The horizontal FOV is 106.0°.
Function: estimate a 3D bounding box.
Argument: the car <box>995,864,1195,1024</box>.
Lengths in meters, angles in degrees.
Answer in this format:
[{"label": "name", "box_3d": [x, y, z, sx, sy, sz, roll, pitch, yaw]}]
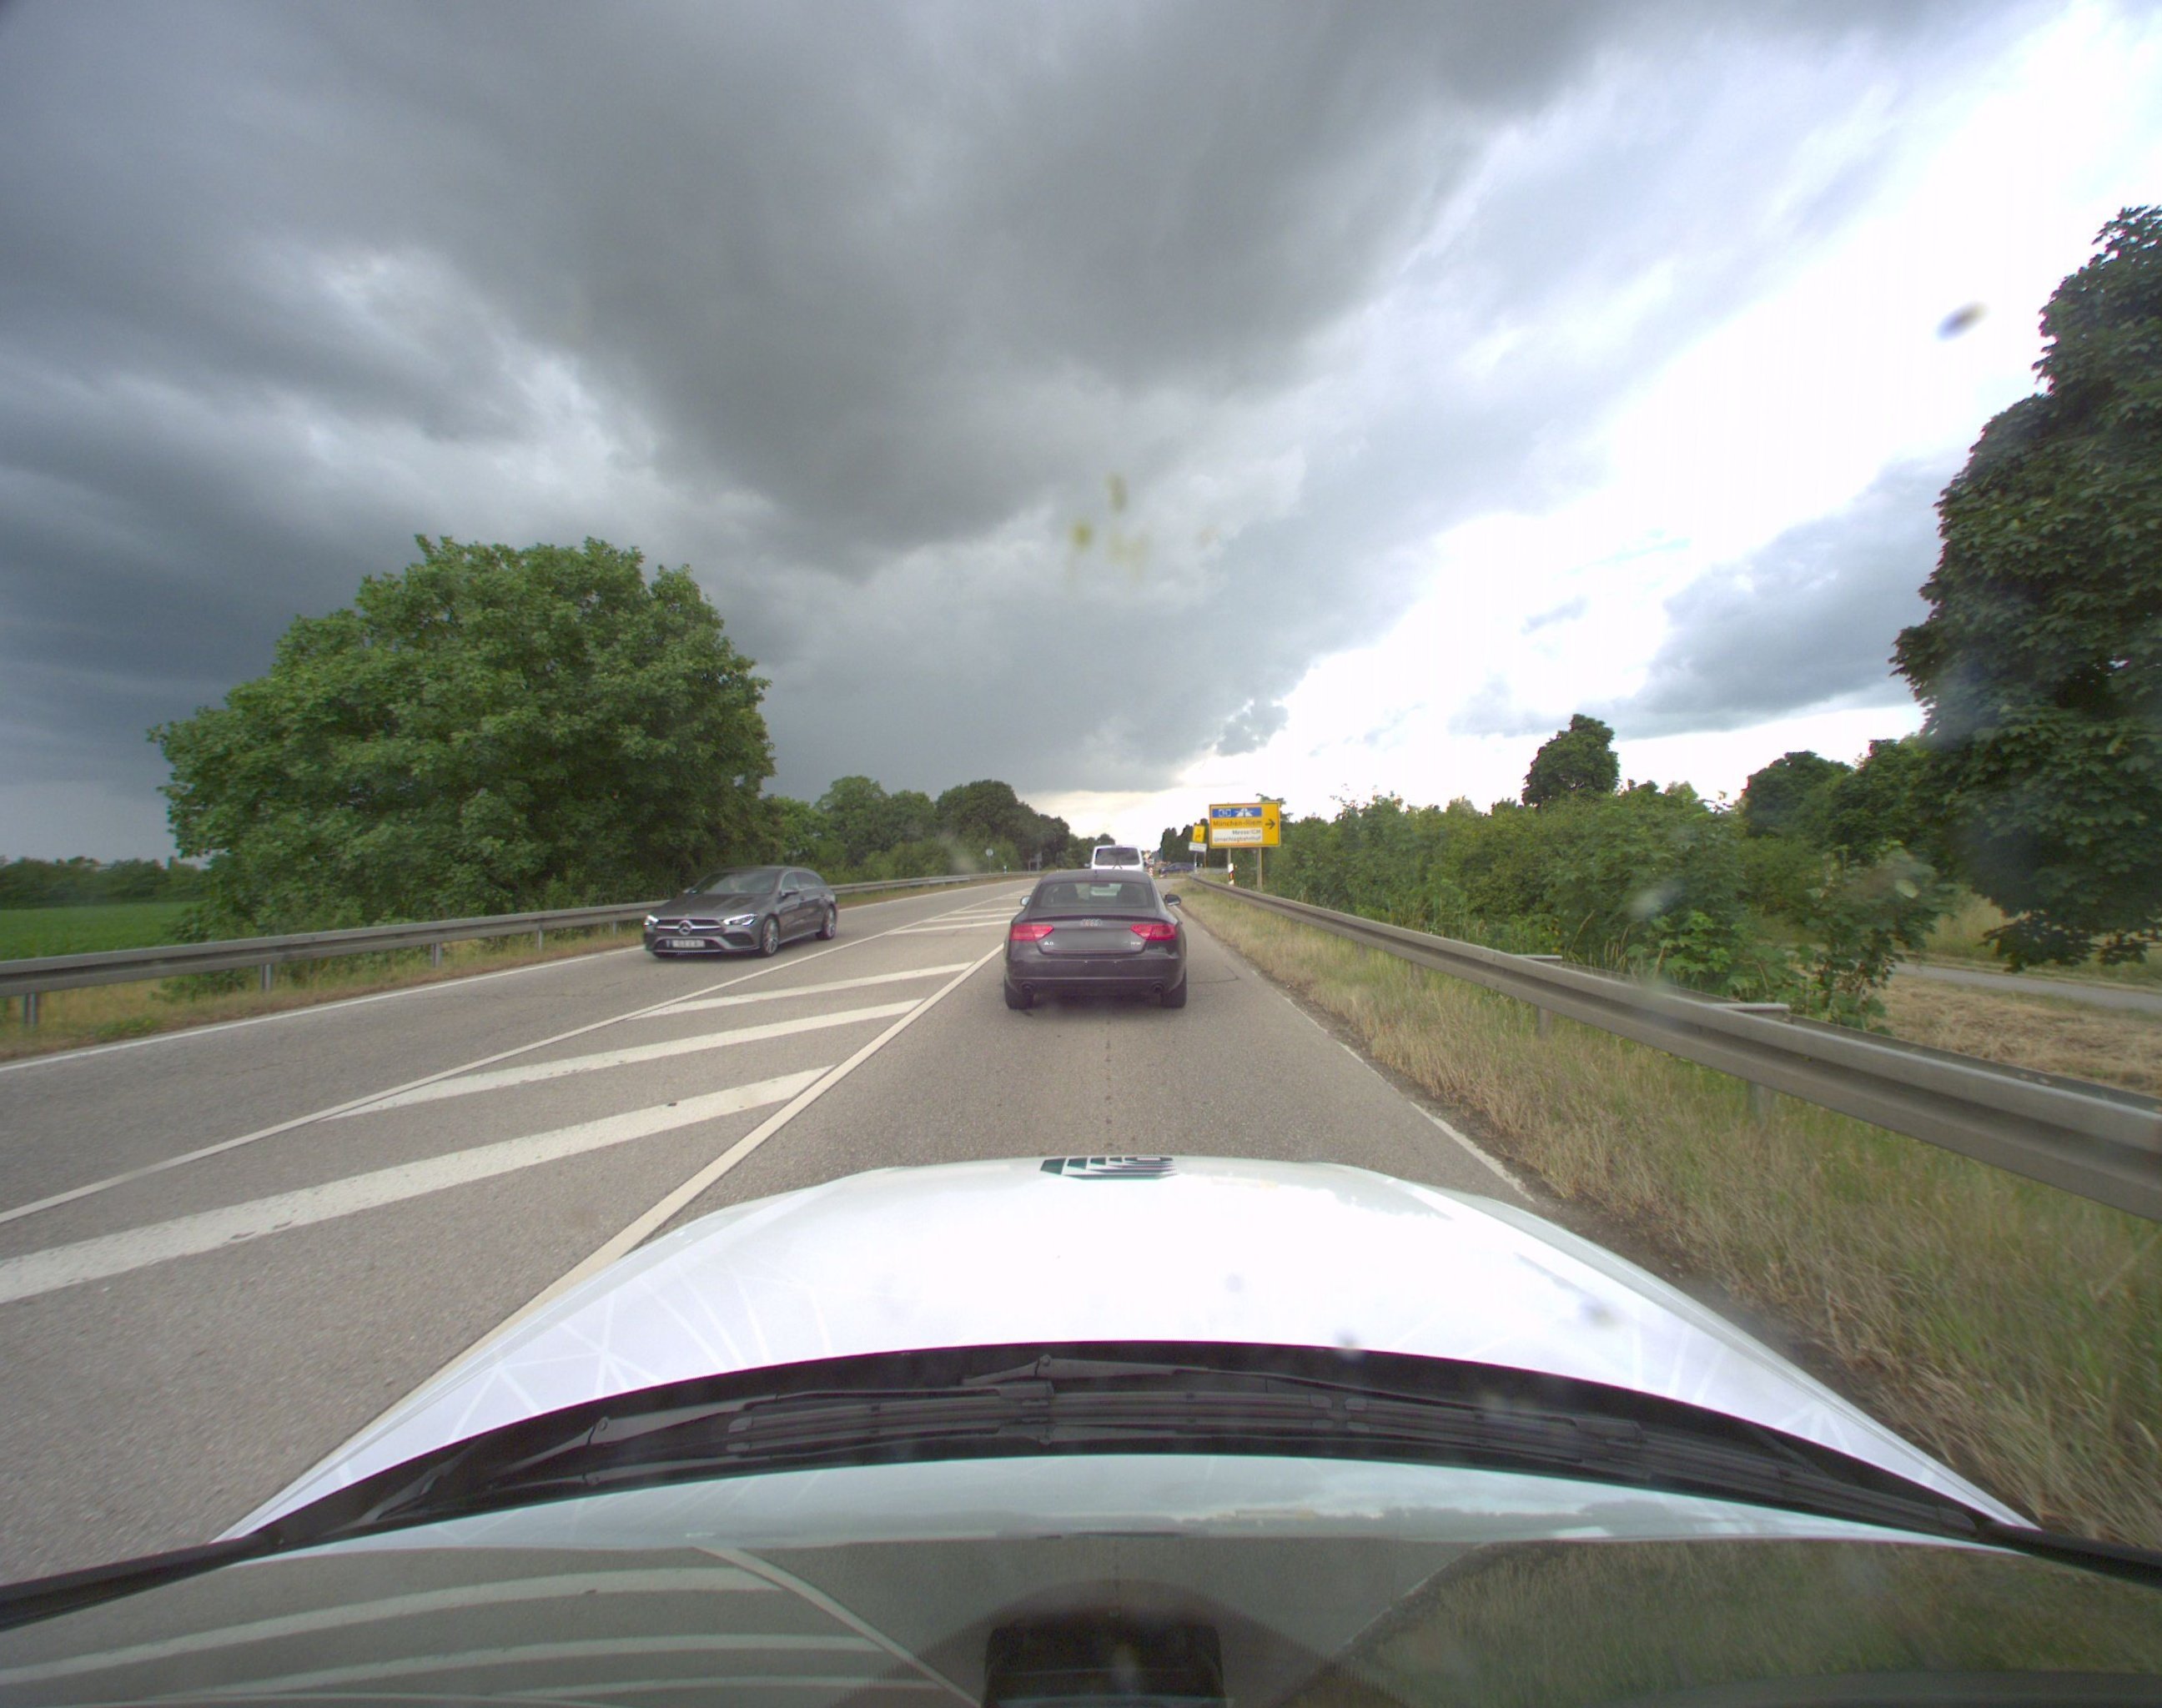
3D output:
[{"label": "car", "box_3d": [0.176, 0.827, 8.969, 1.773, 1.399, 3.337, -1, -1, 2]}]

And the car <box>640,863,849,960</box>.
[{"label": "car", "box_3d": [-5.619, 0.876, 14.276, 1.616, 1.379, 4.514, -1, 0, 2]}]

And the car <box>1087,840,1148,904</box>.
[{"label": "car", "box_3d": [1.211, 0.581, 27.568, 1.903, 2.014, 4.002, 0, 0, 2]}]
